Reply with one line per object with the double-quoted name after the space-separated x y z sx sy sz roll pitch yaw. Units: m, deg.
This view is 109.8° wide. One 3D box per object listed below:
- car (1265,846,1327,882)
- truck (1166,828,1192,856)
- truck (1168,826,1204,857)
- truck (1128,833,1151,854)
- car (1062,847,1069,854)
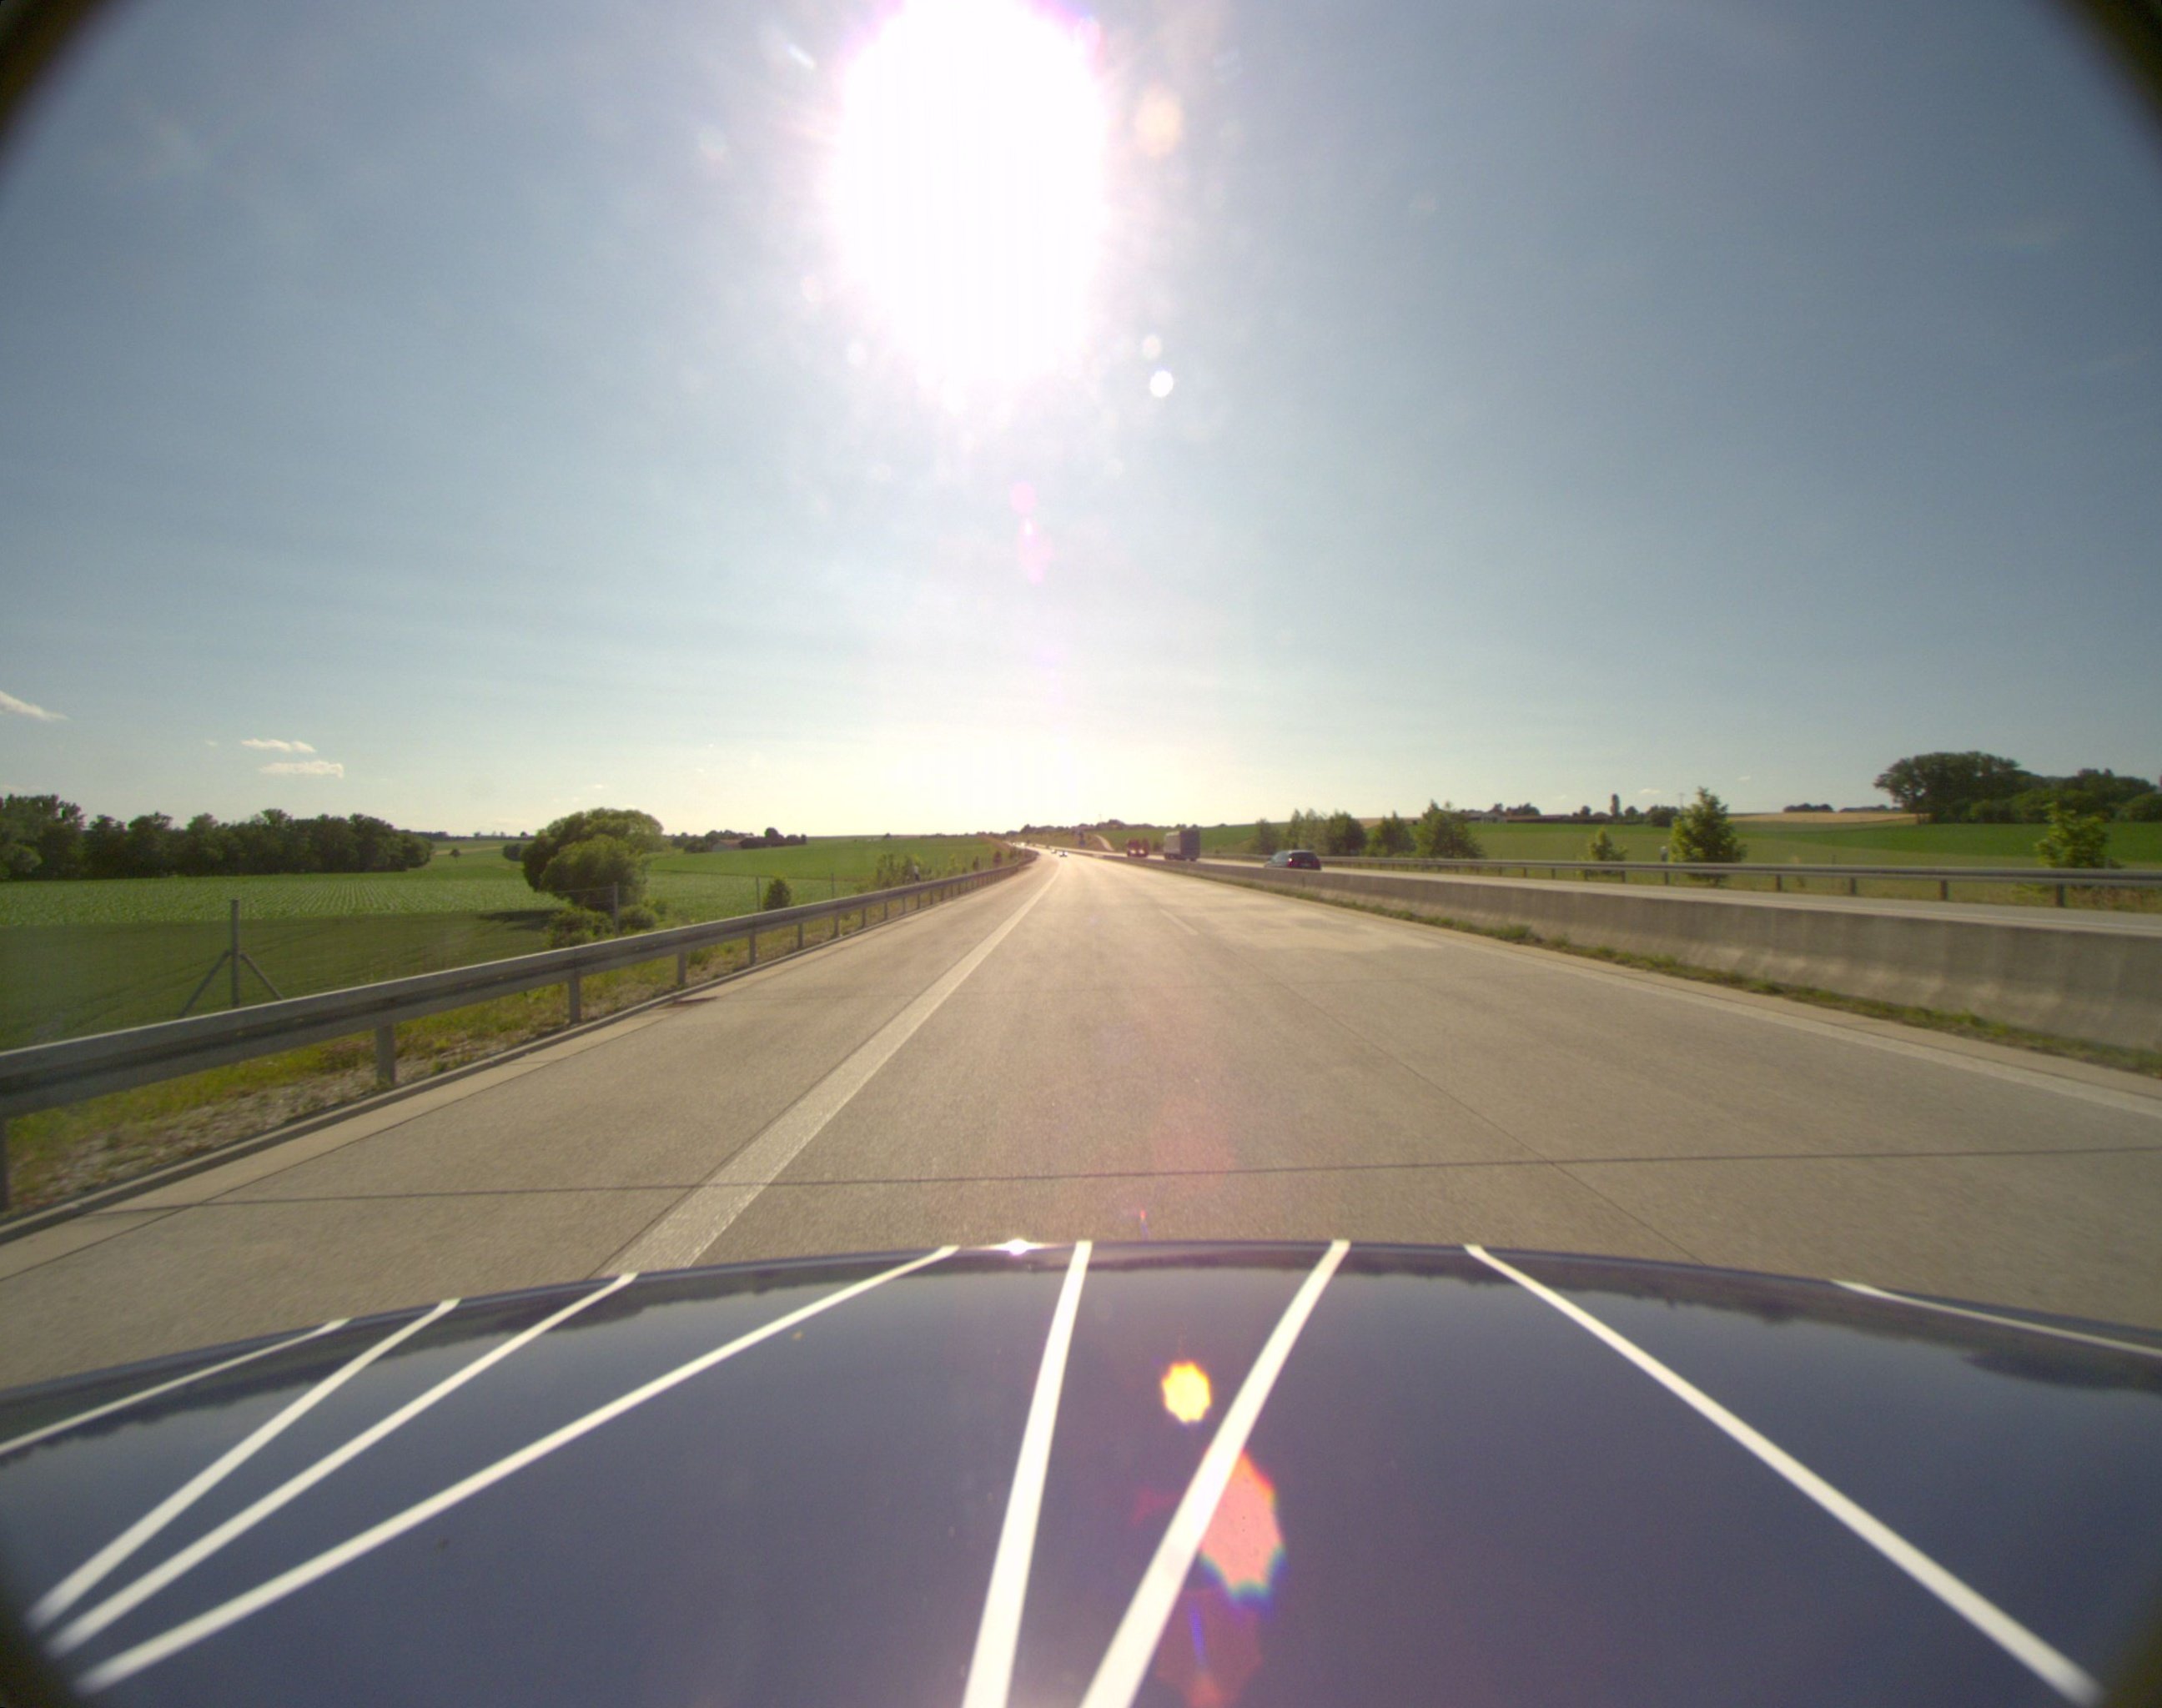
10.752 0.458 38.272 1.715 1.580 4.626 -2 1 -1 "car"
14.123 -1.727 110.011 2.868 3.851 5.982 -1 1 0 "truck"
14.160 -1.700 103.673 2.867 3.985 13.865 -1 1 -1 "truck"
11.983 -2.235 157.672 2.875 3.992 17.110 -1 1 -1 "truck"
-3.840 -0.763 187.728 1.715 1.580 4.626 -2 1 -1 "car"
